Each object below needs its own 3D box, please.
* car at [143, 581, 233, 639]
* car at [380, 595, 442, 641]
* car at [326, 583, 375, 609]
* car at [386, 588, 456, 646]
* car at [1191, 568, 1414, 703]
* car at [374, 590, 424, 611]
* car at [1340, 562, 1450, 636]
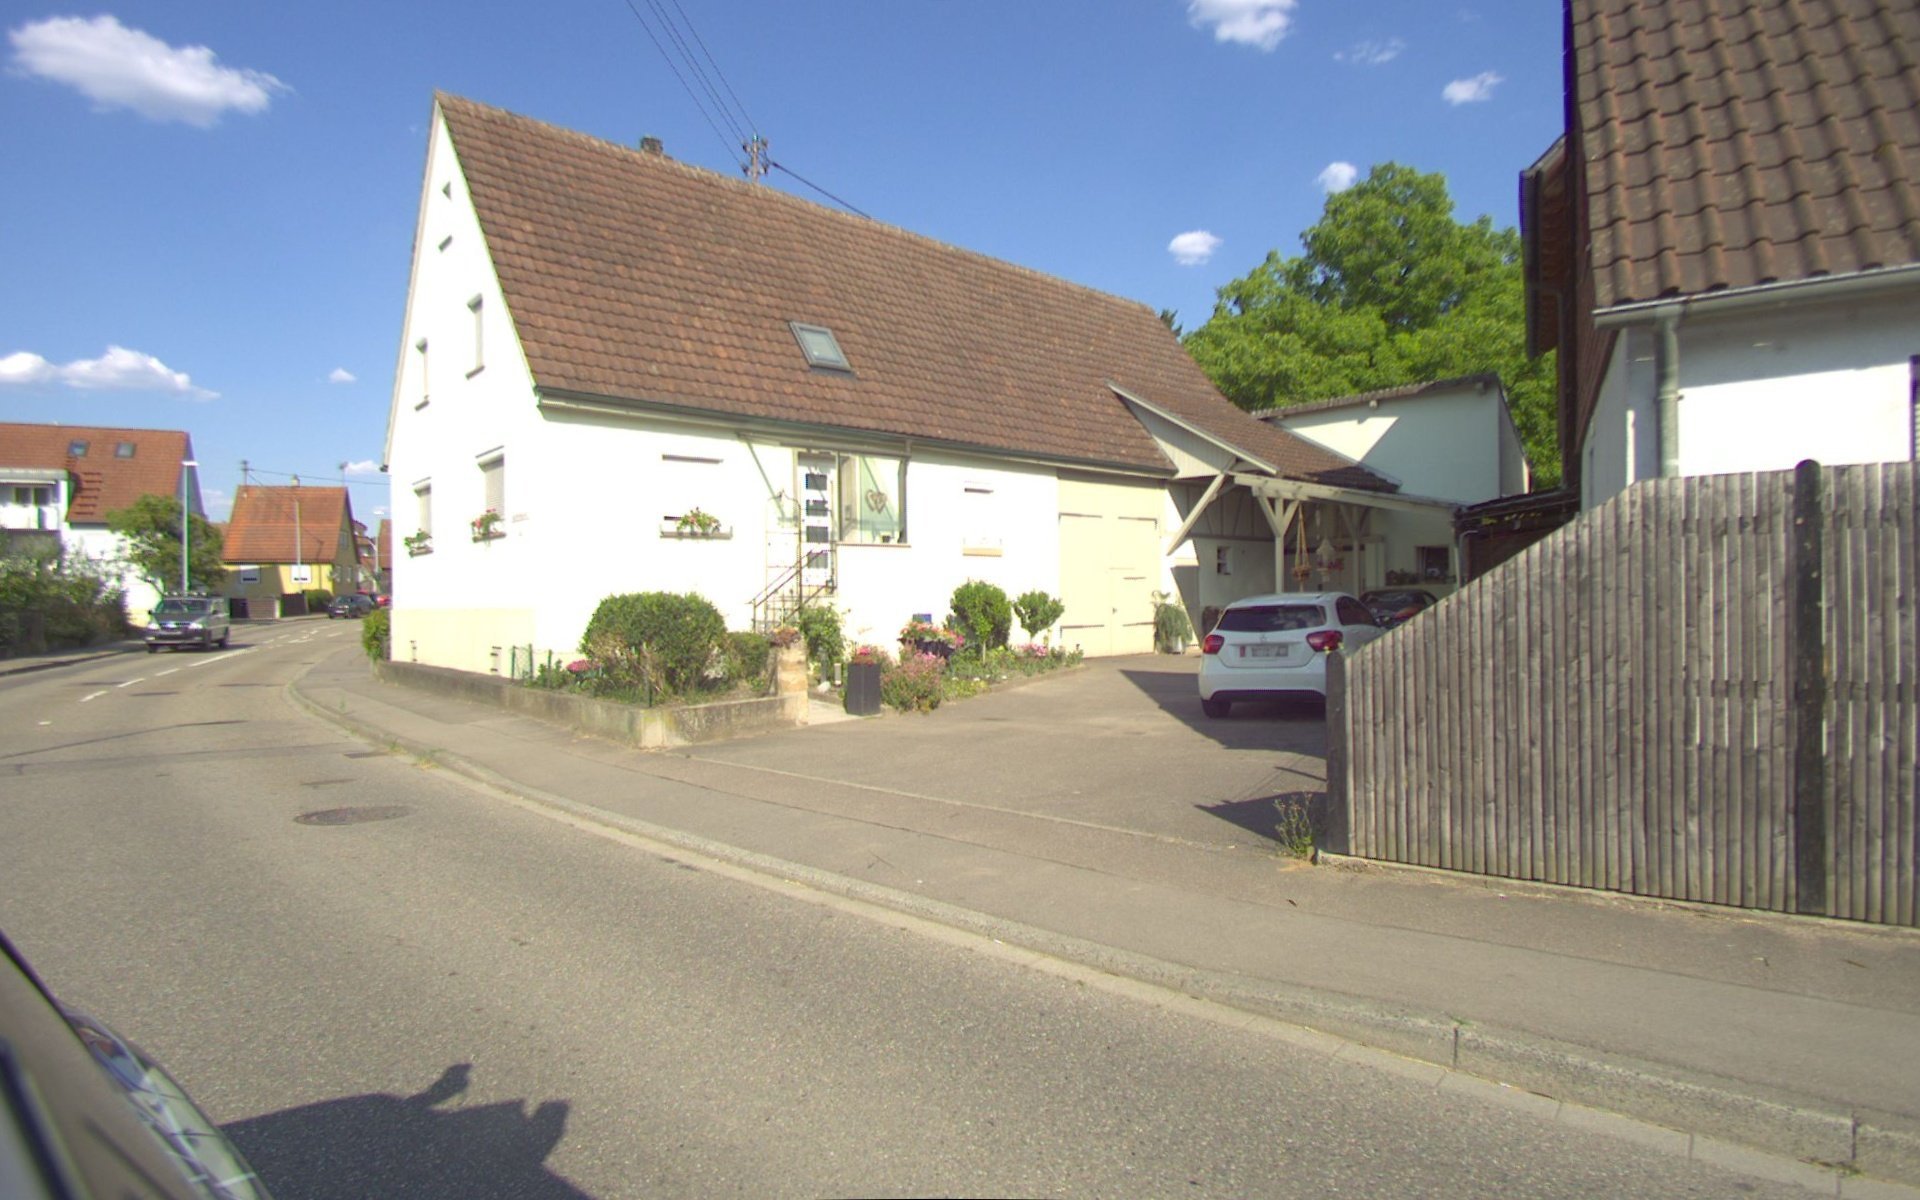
[{"bbox_3d":[-28.845,0.381,37.949,1.790,2.015,4.836,-1,0,-27],"label":"car"},{"bbox_3d":[-19.207,0.626,35.528,1.487,1.477,3.670,-2,0,-22],"label":"car"},{"bbox_3d":[-42.233,-0.250,70.236,1.941,1.669,4.012,1,-1,-16],"label":"car"},{"bbox_3d":[-16.431,0.514,30.975,1.487,1.605,3.670,-2,0,-22],"label":"car"},{"bbox_3d":[4.460,0.382,12.807,1.812,1.423,3.855,-3,-1,31],"label":"car"},{"bbox_3d":[-54.052,0.061,97.582,3.931,2.029,1.980,1,-1,-18],"label":"car"},{"bbox_3d":[9.383,-0.041,21.688,1.607,1.423,3.855,-2,0,31],"label":"car"}]
